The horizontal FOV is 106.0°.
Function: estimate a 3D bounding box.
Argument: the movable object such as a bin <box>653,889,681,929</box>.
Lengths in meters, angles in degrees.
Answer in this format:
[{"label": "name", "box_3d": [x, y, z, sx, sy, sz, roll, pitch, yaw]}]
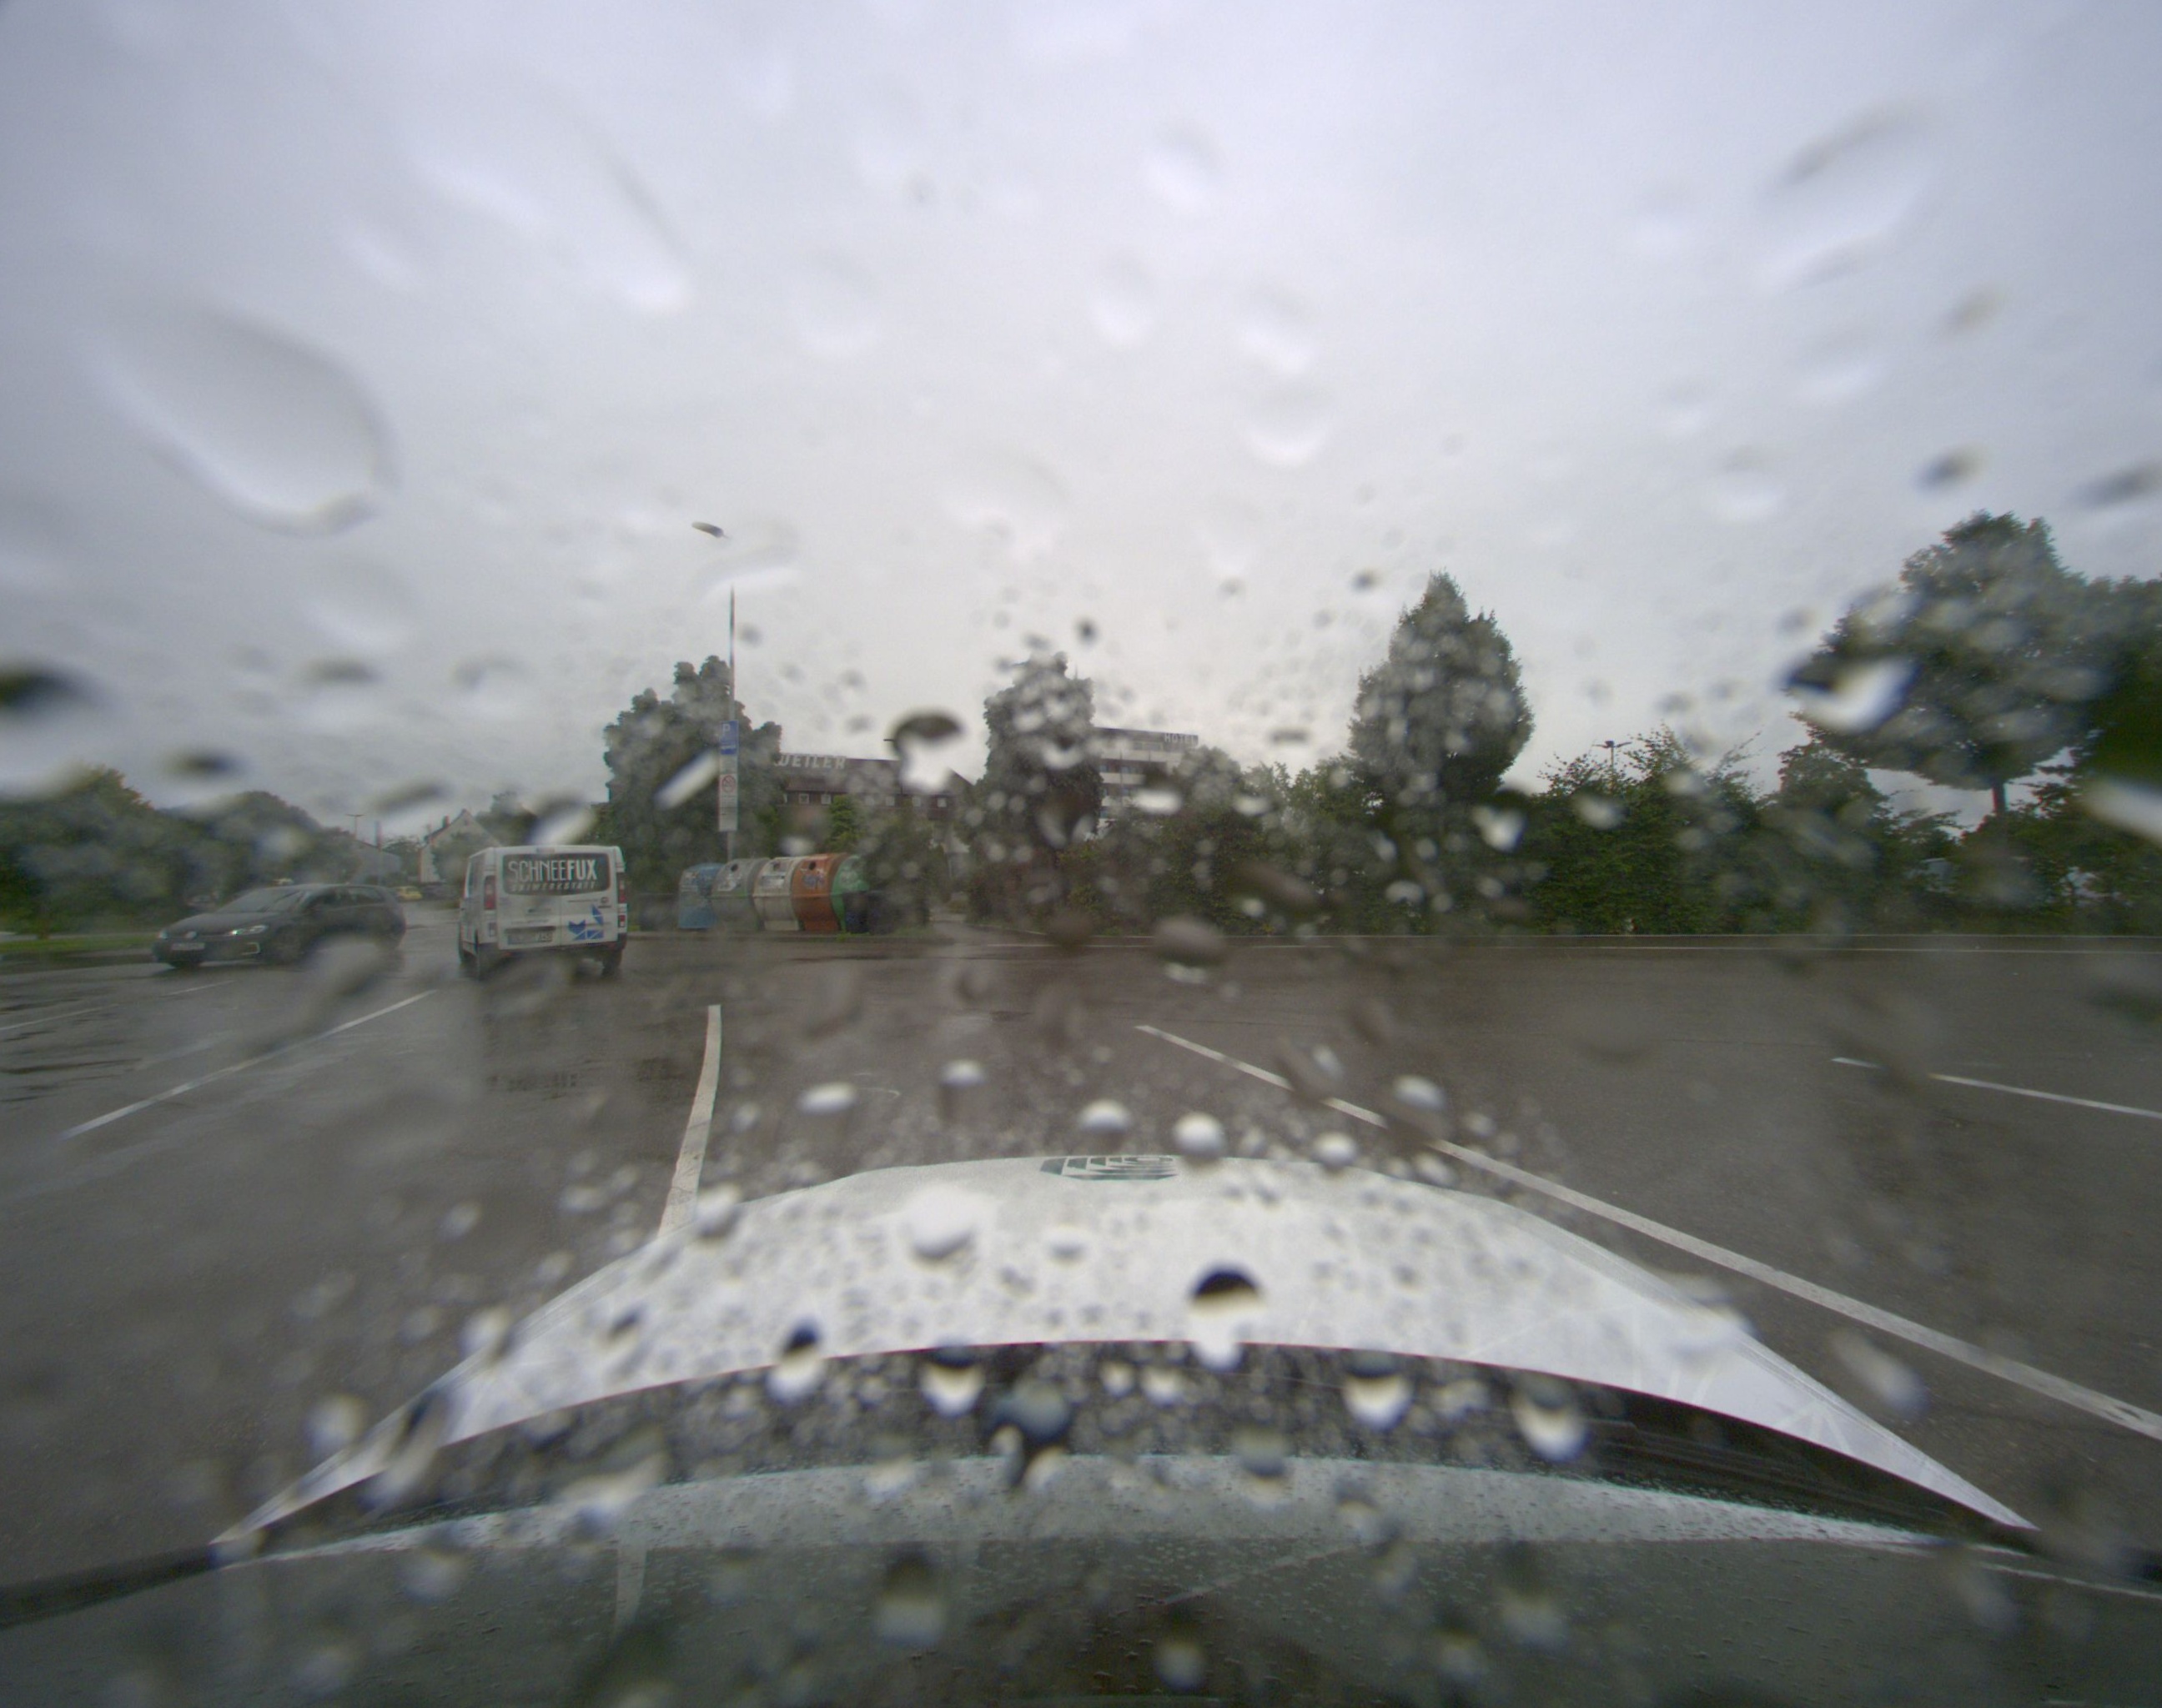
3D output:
[{"label": "movable object such as a bin", "box_3d": [-9.994, 1.324, 19.654, 0.482, 0.917, 0.453, -2, -1, 43]}]

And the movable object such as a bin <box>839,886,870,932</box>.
[{"label": "movable object such as a bin", "box_3d": [-4.711, 1.134, 16.967, 0.497, 0.920, 0.411, -1, -1, -36]}]

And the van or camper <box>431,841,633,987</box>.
[{"label": "van or camper", "box_3d": [-9.316, 0.878, 13.593, 2.206, 1.945, 5.135, -1, -1, -41]}]

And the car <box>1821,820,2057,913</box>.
[{"label": "car", "box_3d": [17.270, 0.256, 16.695, 1.765, 1.628, 4.116, -2, -1, 23]}]

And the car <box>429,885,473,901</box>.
[{"label": "car", "box_3d": [-62.988, 3.855, 81.375, 3.640, 1.458, 1.592, -2, -1, 16]}]

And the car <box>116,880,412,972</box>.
[{"label": "car", "box_3d": [-15.677, 1.301, 16.000, 1.769, 1.433, 4.075, -1, -1, -2]}]

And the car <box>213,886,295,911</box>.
[{"label": "car", "box_3d": [-58.024, 3.096, 57.224, 3.753, 1.551, 1.437, -1, -1, -28]}]

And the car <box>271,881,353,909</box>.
[{"label": "car", "box_3d": [-62.292, 3.311, 66.082, 4.546, 2.033, 1.630, -1, -1, -28]}]

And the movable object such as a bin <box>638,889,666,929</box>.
[{"label": "movable object such as a bin", "box_3d": [-10.484, 1.327, 19.903, 0.482, 0.938, 0.453, -2, -1, 43]}]

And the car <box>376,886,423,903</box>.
[{"label": "car", "box_3d": [-64.165, 3.847, 76.725, 3.640, 1.458, 1.592, -2, -1, 16]}]

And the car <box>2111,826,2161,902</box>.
[{"label": "car", "box_3d": [21.656, 0.152, 14.845, 1.745, 1.497, 4.116, -2, -1, 23]}]

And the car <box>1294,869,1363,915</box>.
[{"label": "car", "box_3d": [9.063, 1.337, 29.553, 1.863, 1.472, 4.794, -2, -1, 23]}]

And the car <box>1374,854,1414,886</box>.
[{"label": "car", "box_3d": [17.827, 0.890, 46.332, 1.777, 1.693, 4.071, -3, -1, 25]}]

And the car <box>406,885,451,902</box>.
[{"label": "car", "box_3d": [-62.998, 3.826, 78.615, 3.640, 1.458, 1.592, -2, -1, 16]}]

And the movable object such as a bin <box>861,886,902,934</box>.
[{"label": "movable object such as a bin", "box_3d": [-4.037, 1.116, 16.448, 0.633, 0.920, 0.551, -1, -1, -36]}]

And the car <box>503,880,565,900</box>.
[{"label": "car", "box_3d": [-46.603, 3.036, 69.449, 4.200, 1.498, 1.702, -2, -1, -28]}]

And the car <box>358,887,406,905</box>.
[{"label": "car", "box_3d": [-63.891, 3.819, 74.466, 3.640, 1.458, 1.563, -2, -1, 16]}]
